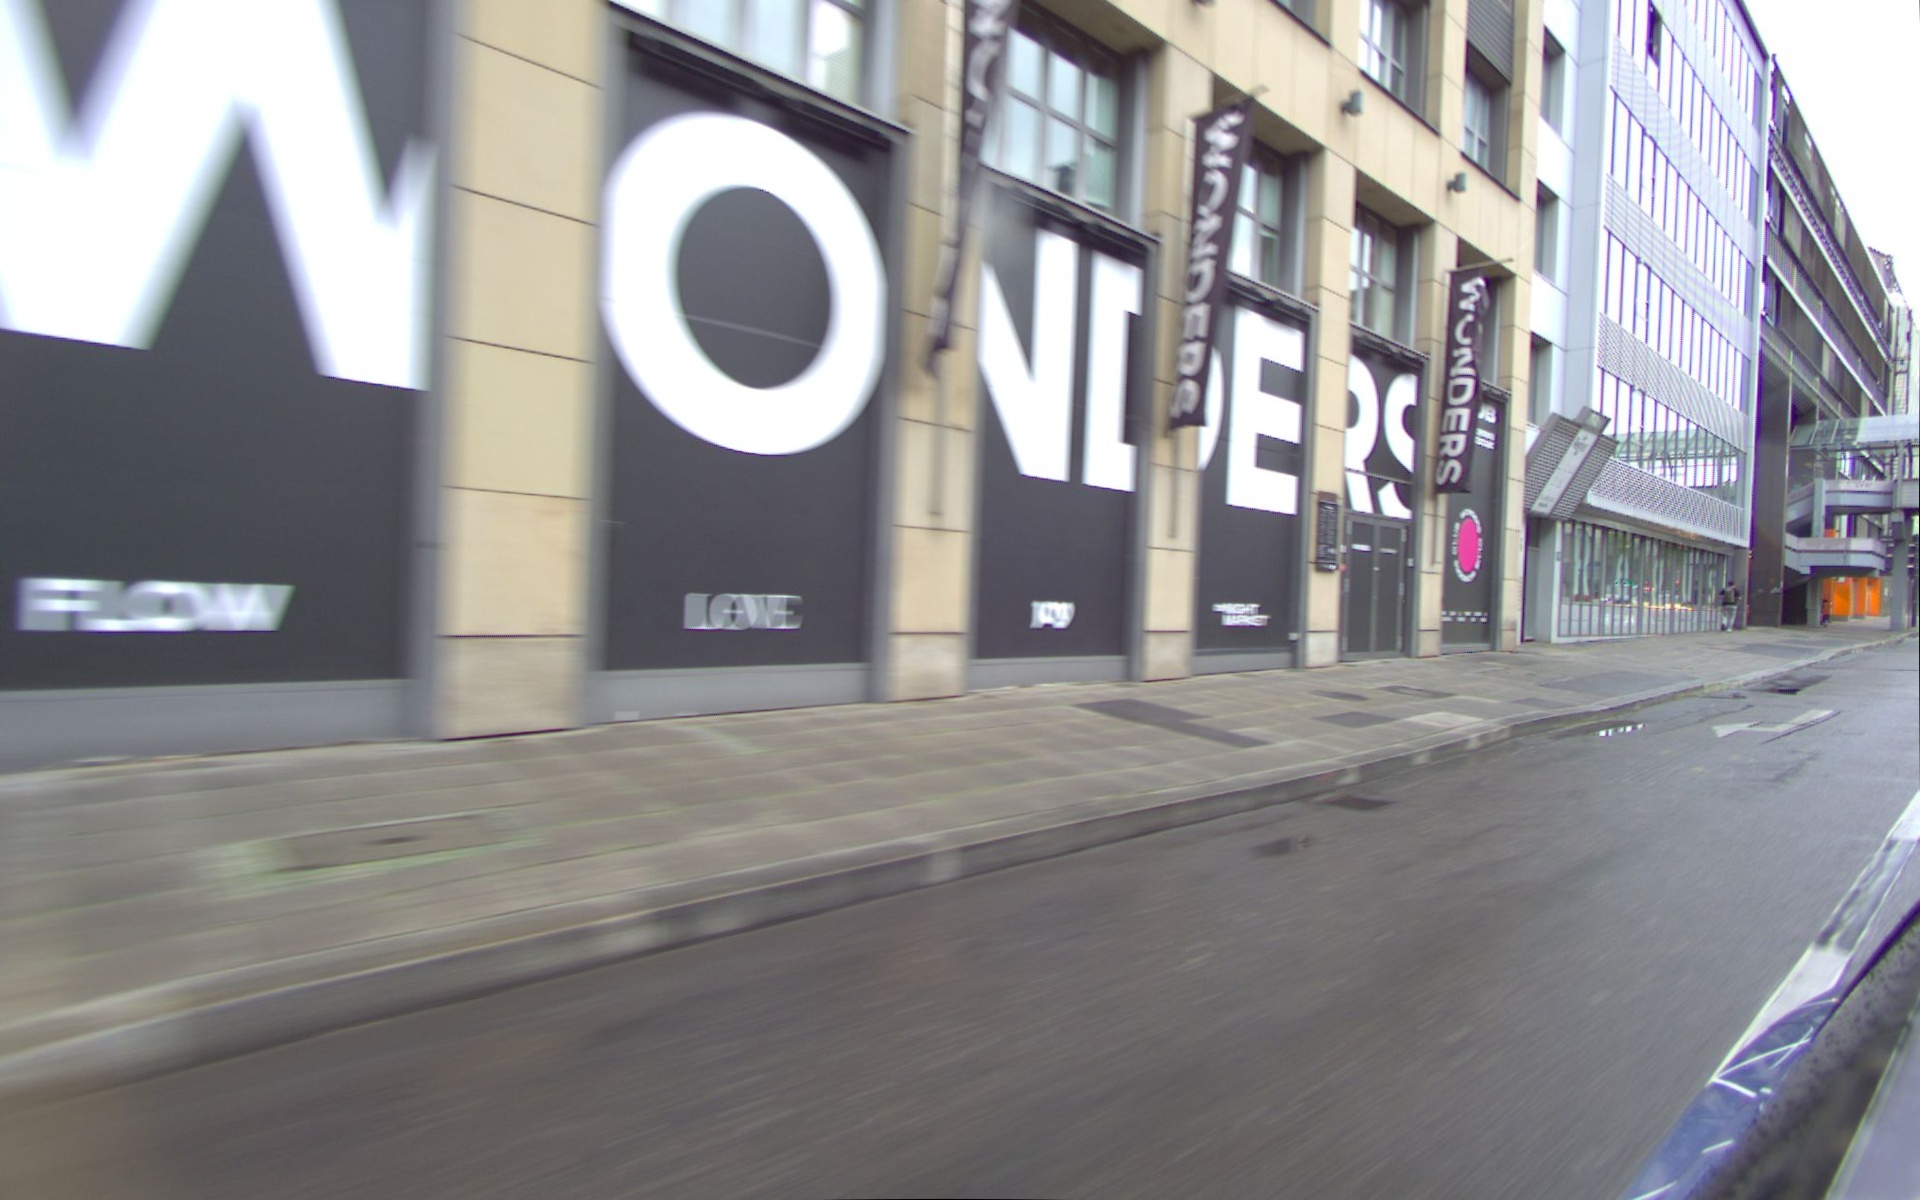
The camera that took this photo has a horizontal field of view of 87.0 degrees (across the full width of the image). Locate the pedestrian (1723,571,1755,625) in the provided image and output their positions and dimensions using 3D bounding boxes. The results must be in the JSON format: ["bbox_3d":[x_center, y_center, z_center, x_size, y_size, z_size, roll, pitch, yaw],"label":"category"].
[{"bbox_3d":[27.012,-0.072,35.086,0.751,1.855,0.728,0,1,-42],"label":"pedestrian"}]
